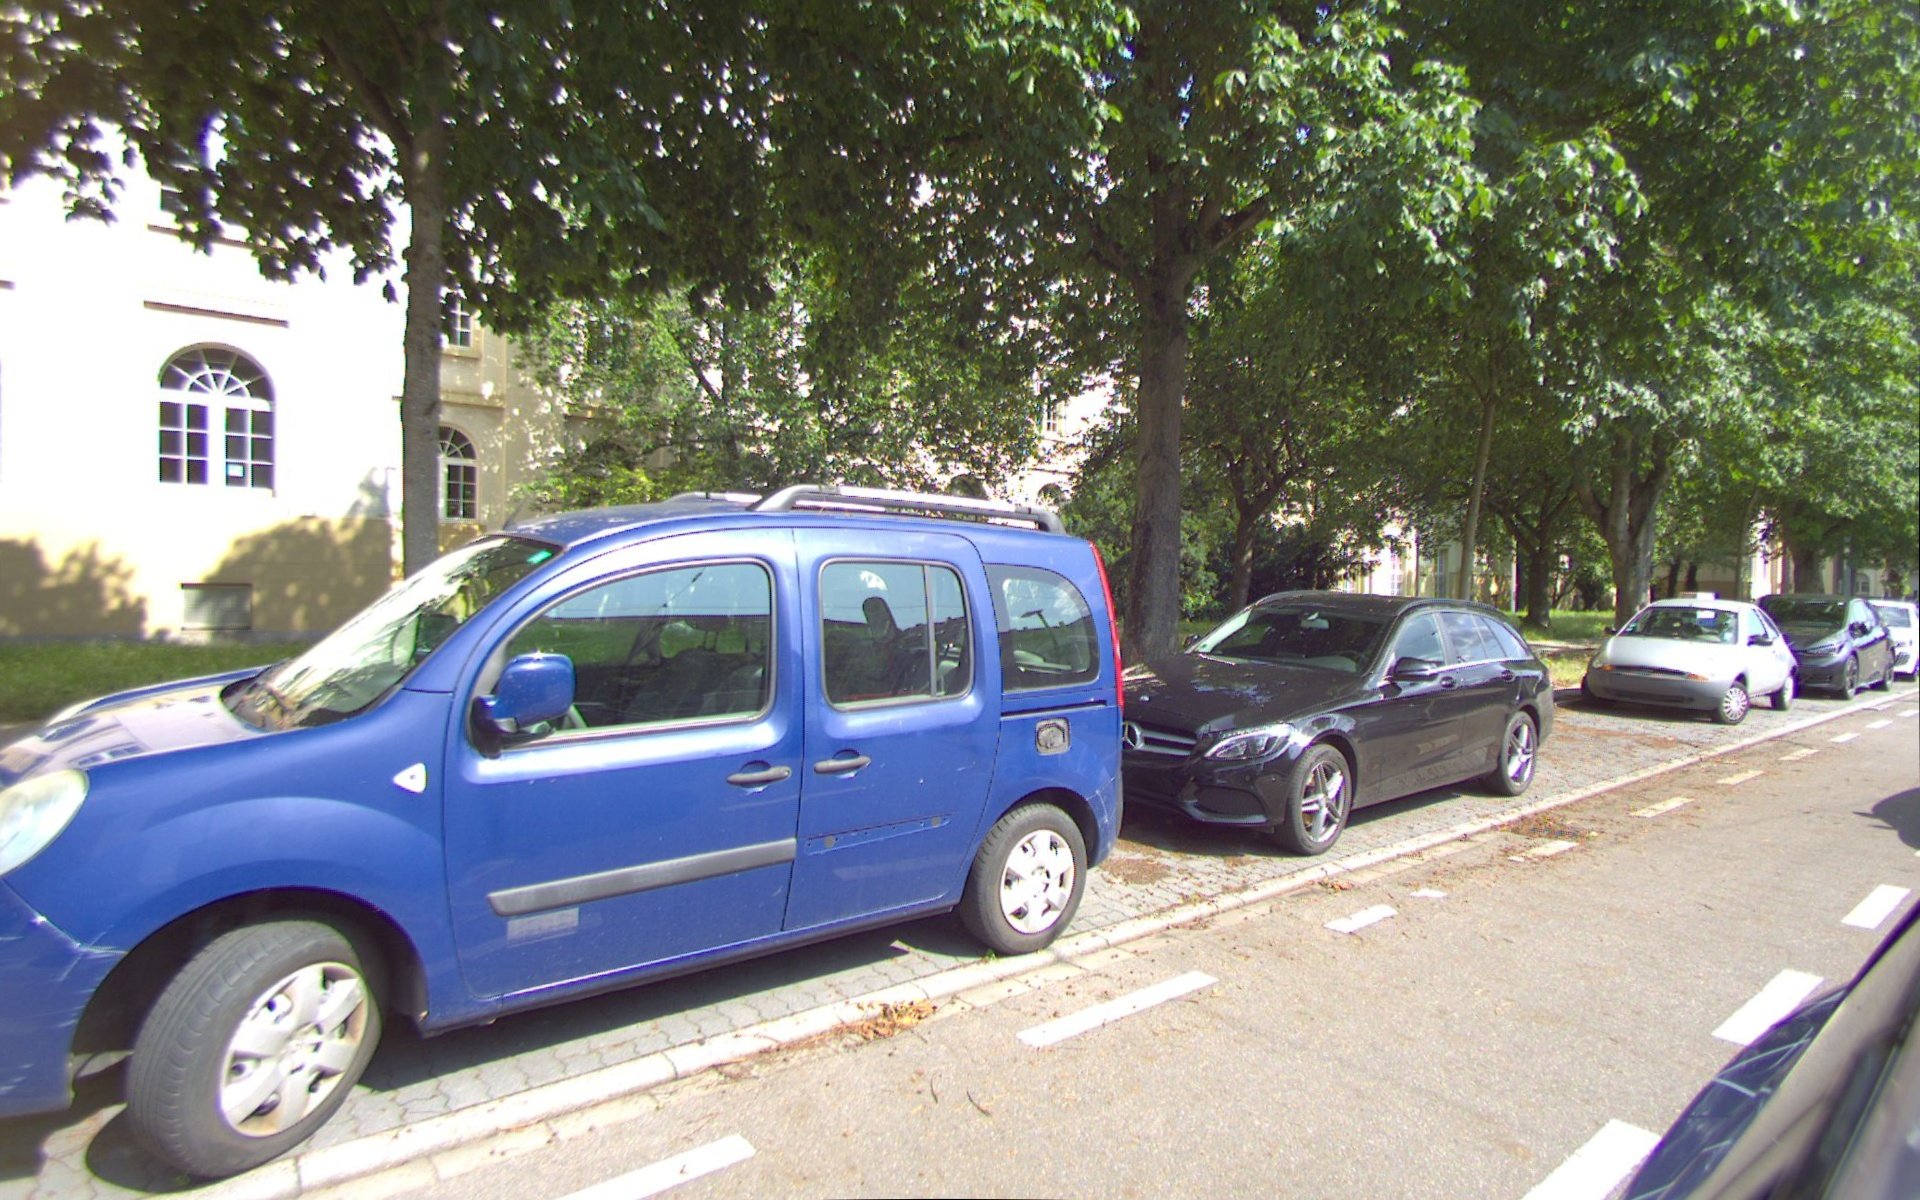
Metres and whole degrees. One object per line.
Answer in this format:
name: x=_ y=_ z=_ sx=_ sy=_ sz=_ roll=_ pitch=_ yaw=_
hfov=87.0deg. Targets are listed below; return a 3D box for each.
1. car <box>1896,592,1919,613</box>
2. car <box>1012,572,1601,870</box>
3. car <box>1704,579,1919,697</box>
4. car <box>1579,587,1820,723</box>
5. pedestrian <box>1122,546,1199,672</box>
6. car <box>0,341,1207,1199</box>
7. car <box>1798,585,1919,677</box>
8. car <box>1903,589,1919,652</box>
car: x=77.678 y=0.229 z=80.162 sx=1.820 sy=1.676 sz=4.843 roll=-1 pitch=2 yaw=-28
car: x=2.787 y=0.617 z=7.496 sx=4.711 sy=1.459 sz=1.922 roll=0 pitch=3 yaw=-40
car: x=13.838 y=0.524 z=16.337 sx=4.591 sy=1.603 sz=1.730 roll=0 pitch=2 yaw=-38
car: x=9.625 y=0.599 z=13.100 sx=3.532 sy=1.462 sz=1.595 roll=0 pitch=3 yaw=-38
pedestrian: x=2.843 y=0.114 z=14.358 sx=0.752 sy=1.717 sz=0.747 roll=0 pitch=1 yaw=-33
car: x=-1.123 y=0.391 z=3.957 sx=4.106 sy=1.919 sz=1.828 roll=1 pitch=2 yaw=-37
car: x=18.081 y=0.530 z=19.836 sx=4.179 sy=1.542 sz=1.839 roll=0 pitch=4 yaw=-41
car: x=24.808 y=0.524 z=25.161 sx=3.497 sy=1.478 sz=1.559 roll=-1 pitch=5 yaw=-41
